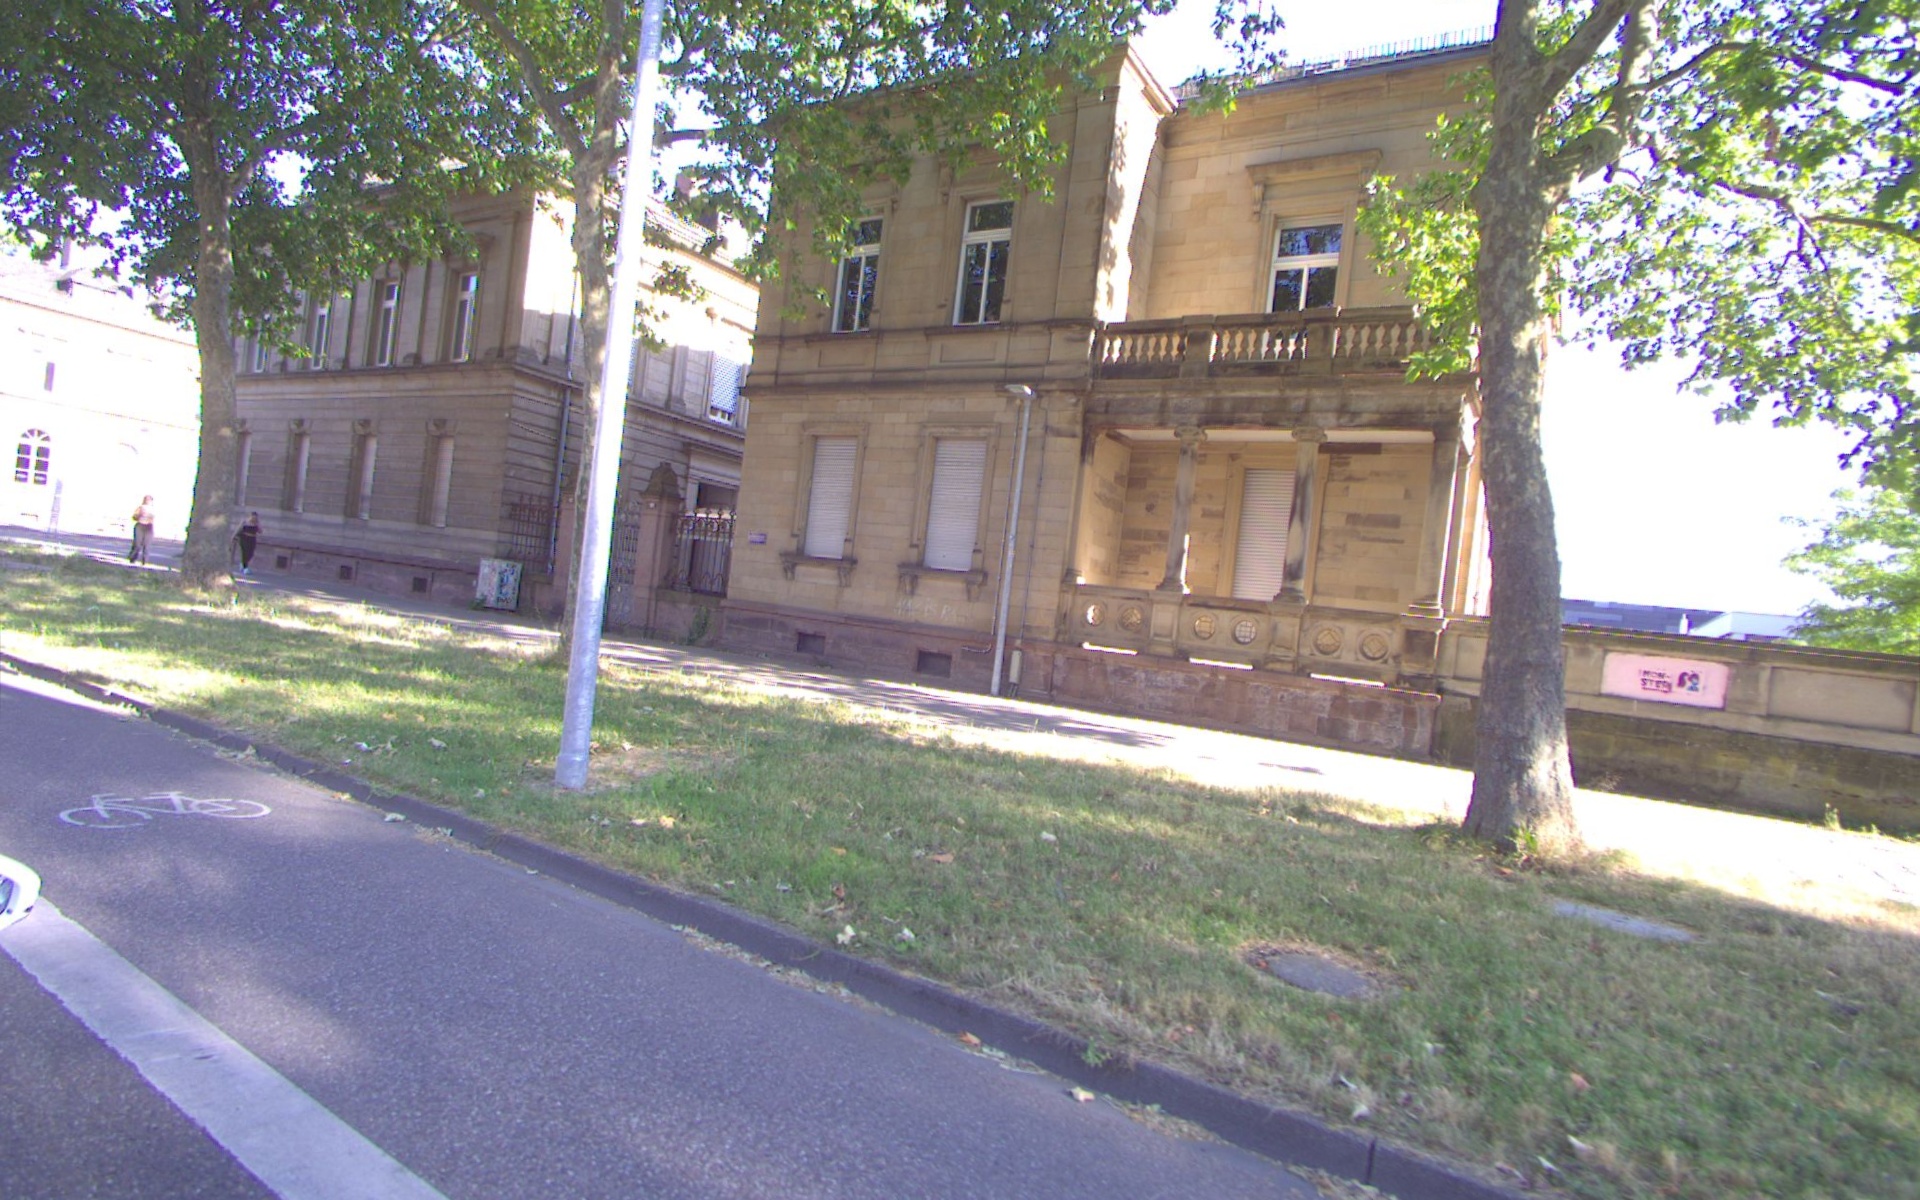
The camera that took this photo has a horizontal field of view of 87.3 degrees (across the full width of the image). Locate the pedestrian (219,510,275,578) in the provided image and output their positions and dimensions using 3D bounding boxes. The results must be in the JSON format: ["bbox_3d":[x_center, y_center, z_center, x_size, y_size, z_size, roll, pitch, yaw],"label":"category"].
[{"bbox_3d":[-18.490,-1.458,26.086,0.970,1.626,0.770,7,1,34],"label":"pedestrian"}]

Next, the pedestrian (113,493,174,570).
[{"bbox_3d":[-19.853,-1.671,24.469,1.025,1.731,0.770,7,1,34],"label":"pedestrian"}]
